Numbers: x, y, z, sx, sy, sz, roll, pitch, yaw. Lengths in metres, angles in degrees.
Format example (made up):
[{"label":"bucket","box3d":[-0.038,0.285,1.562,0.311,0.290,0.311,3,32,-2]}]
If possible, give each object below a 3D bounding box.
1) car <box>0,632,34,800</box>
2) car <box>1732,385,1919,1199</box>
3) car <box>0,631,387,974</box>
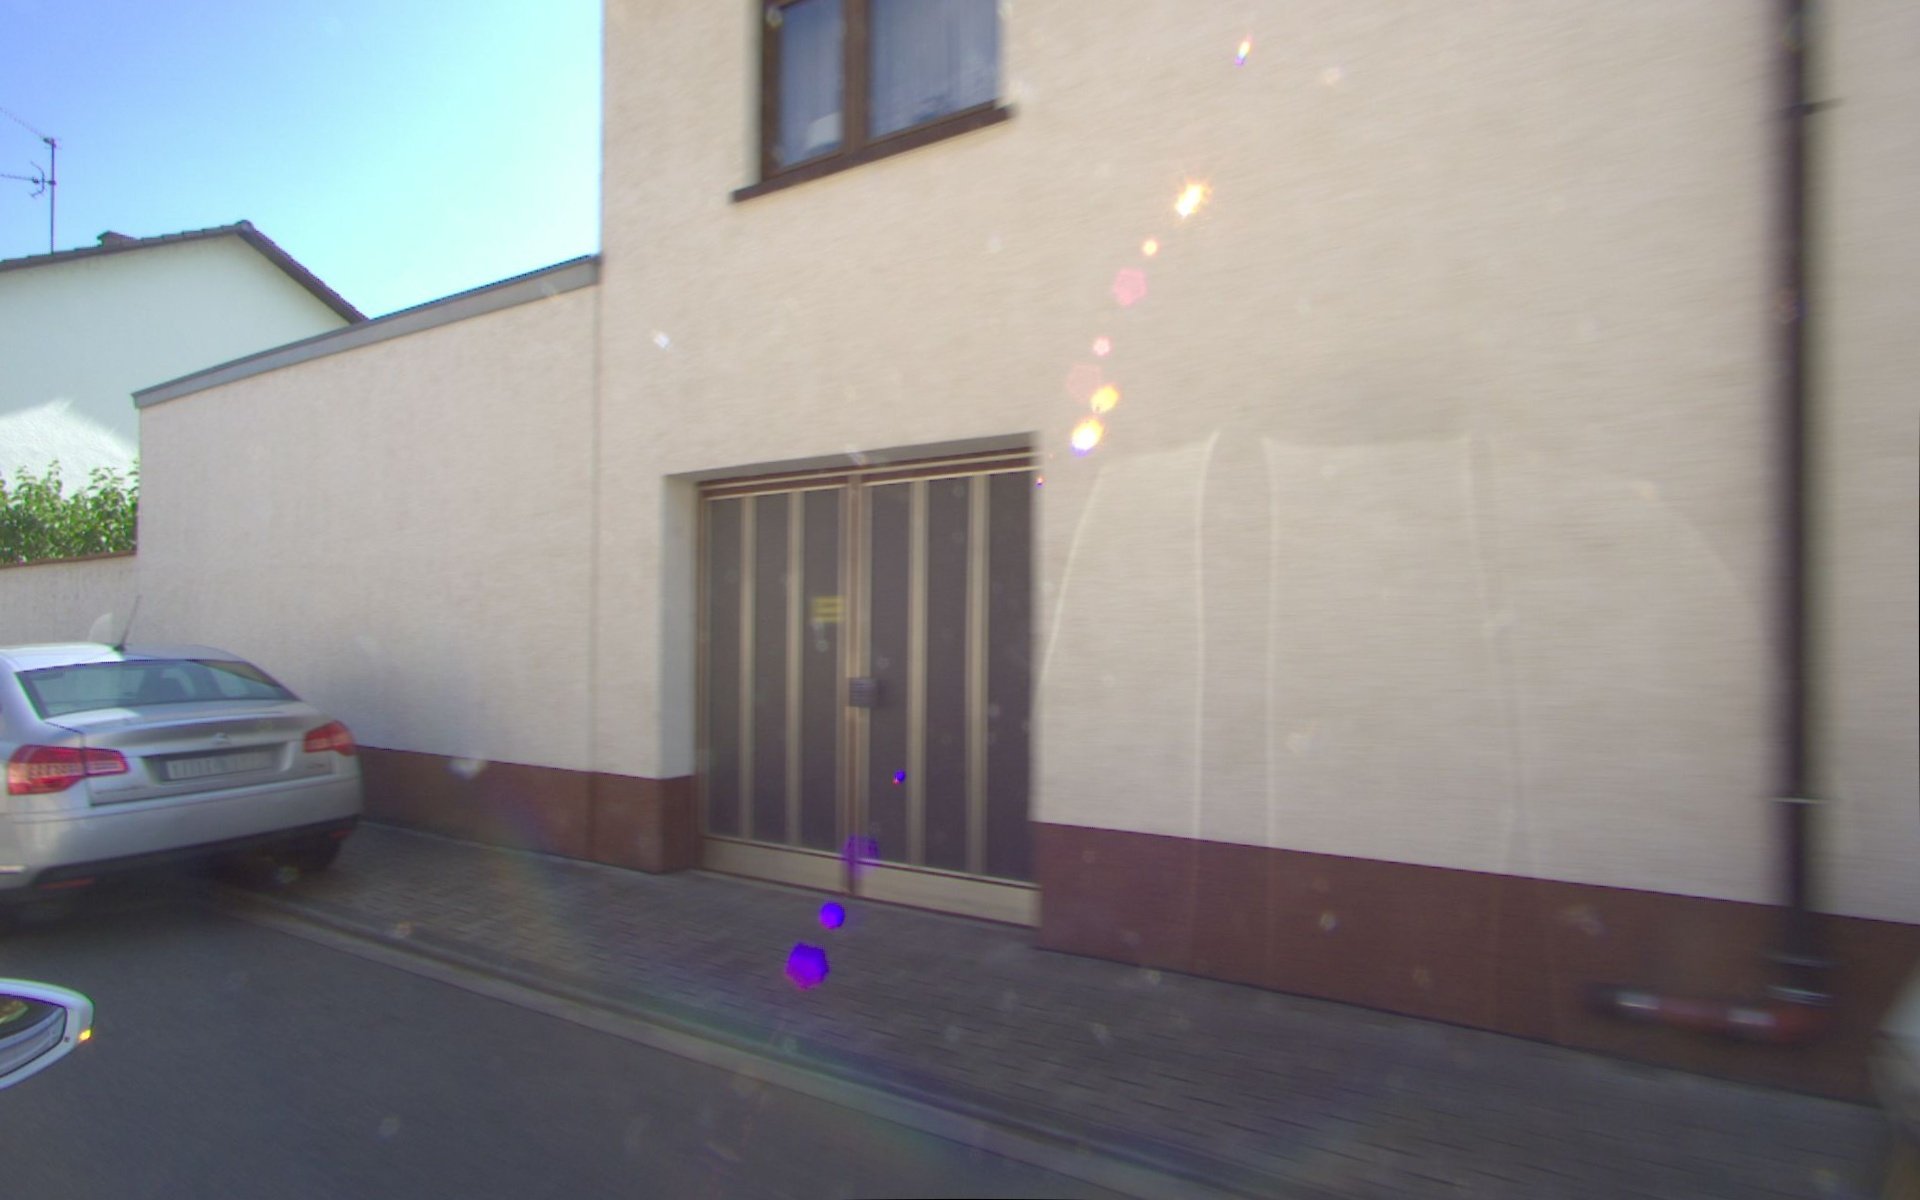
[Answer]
[{"label":"car","box3d":[-10.371,1.019,9.202,4.073,1.455,1.647,-1,-2,31]},{"label":"car","box3d":[3.508,0.627,0.430,4.777,1.847,1.809,-1,-4,30]},{"label":"car","box3d":[-5.964,0.976,6.517,4.862,1.501,1.787,-1,0,32]}]
